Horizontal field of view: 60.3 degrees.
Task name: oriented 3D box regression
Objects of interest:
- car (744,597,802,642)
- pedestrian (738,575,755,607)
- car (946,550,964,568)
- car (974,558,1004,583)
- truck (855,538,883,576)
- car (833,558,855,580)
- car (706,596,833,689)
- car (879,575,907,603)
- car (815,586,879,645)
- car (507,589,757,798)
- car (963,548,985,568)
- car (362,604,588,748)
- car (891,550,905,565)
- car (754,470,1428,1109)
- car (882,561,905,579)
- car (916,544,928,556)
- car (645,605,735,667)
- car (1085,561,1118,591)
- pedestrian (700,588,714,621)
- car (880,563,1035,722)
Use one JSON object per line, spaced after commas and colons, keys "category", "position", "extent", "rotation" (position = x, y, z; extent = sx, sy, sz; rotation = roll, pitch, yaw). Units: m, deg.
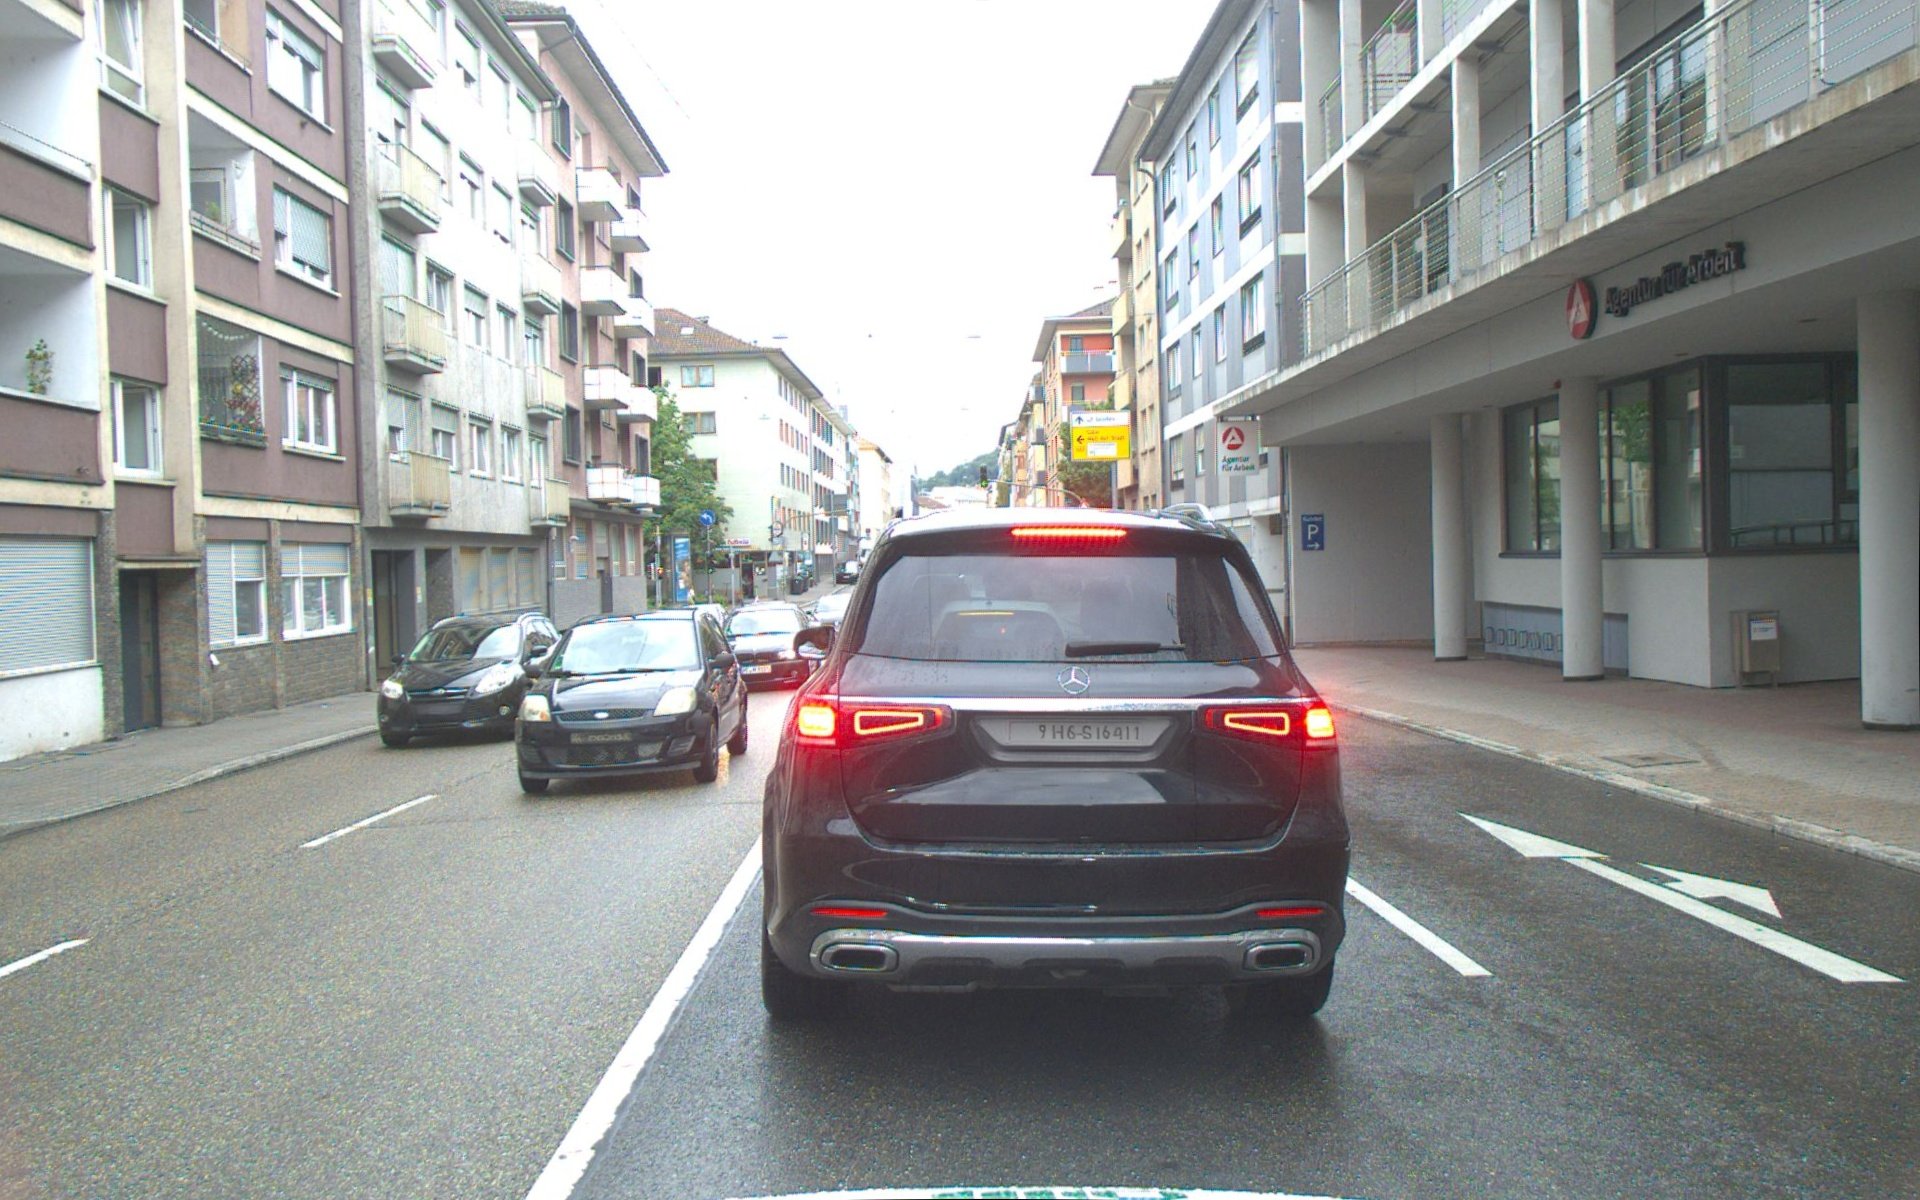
{"category": "car", "position": [-6.434, 0.641, 57.173], "extent": [1.566, 1.394, 4.361], "rotation": [-4, 0, -2]}
{"category": "pedestrian", "position": [-13.098, -0.544, 101.679], "extent": [0.904, 1.935, 0.706], "rotation": [-2, 0, -3]}
{"category": "car", "position": [-0.499, -4.125, 167.052], "extent": [1.586, 1.566, 4.215], "rotation": [-3, 0, -3]}
{"category": "car", "position": [1.894, -1.902, 107.769], "extent": [1.586, 1.411, 4.215], "rotation": [-3, 0, -3]}
{"category": "truck", "position": [-8.590, -4.037, 156.945], "extent": [2.430, 3.099, 9.914], "rotation": [-3, 0, -3]}
{"category": "car", "position": [-9.201, -2.469, 131.493], "extent": [1.586, 1.566, 4.215], "rotation": [-3, 0, -3]}
{"category": "car", "position": [-3.231, 0.699, 28.753], "extent": [1.660, 1.394, 4.217], "rotation": [-4, -1, 0]}
{"category": "car", "position": [-4.120, -0.635, 101.173], "extent": [1.586, 1.566, 4.215], "rotation": [-3, 0, -3]}
{"category": "car", "position": [-3.346, 0.463, 49.494], "extent": [1.661, 1.608, 4.216], "rotation": [-4, -1, -2]}
{"category": "car", "position": [-2.864, 0.751, 15.250], "extent": [1.586, 1.566, 4.215], "rotation": [-3, 0, -3]}
{"category": "car", "position": [1.252, -3.718, 147.847], "extent": [1.586, 1.566, 4.215], "rotation": [-3, 0, -3]}
{"category": "car", "position": [-6.075, 0.881, 21.251], "extent": [1.689, 1.498, 4.372], "rotation": [-4, 1, -2]}
{"category": "car", "position": [-7.270, -4.928, 193.608], "extent": [1.586, 1.566, 4.215], "rotation": [-3, 0, -3]}
{"category": "car", "position": [0.358, 0.564, 7.022], "extent": [1.944, 1.836, 4.389], "rotation": [1, 0, -1]}
{"category": "car", "position": [-5.629, -2.514, 140.001], "extent": [1.848, 1.286, 4.215], "rotation": [-3, 0, -3]}
{"category": "car", "position": [-5.809, -7.561, 250.161], "extent": [1.586, 1.566, 4.215], "rotation": [-3, 0, -3]}
{"category": "car", "position": [-6.878, 0.890, 42.522], "extent": [1.661, 1.394, 4.364], "rotation": [-4, 0, -2]}
{"category": "car", "position": [8.102, -1.358, 94.757], "extent": [1.636, 1.616, 3.331], "rotation": [-2, 1, 1]}
{"category": "pedestrian", "position": [-13.999, 0.221, 91.590], "extent": [0.623, 1.795, 0.773], "rotation": [-2, 0, -3]}
{"category": "car", "position": [-0.128, 0.486, 20.829], "extent": [1.716, 1.762, 4.215], "rotation": [-1, 0, -3]}
